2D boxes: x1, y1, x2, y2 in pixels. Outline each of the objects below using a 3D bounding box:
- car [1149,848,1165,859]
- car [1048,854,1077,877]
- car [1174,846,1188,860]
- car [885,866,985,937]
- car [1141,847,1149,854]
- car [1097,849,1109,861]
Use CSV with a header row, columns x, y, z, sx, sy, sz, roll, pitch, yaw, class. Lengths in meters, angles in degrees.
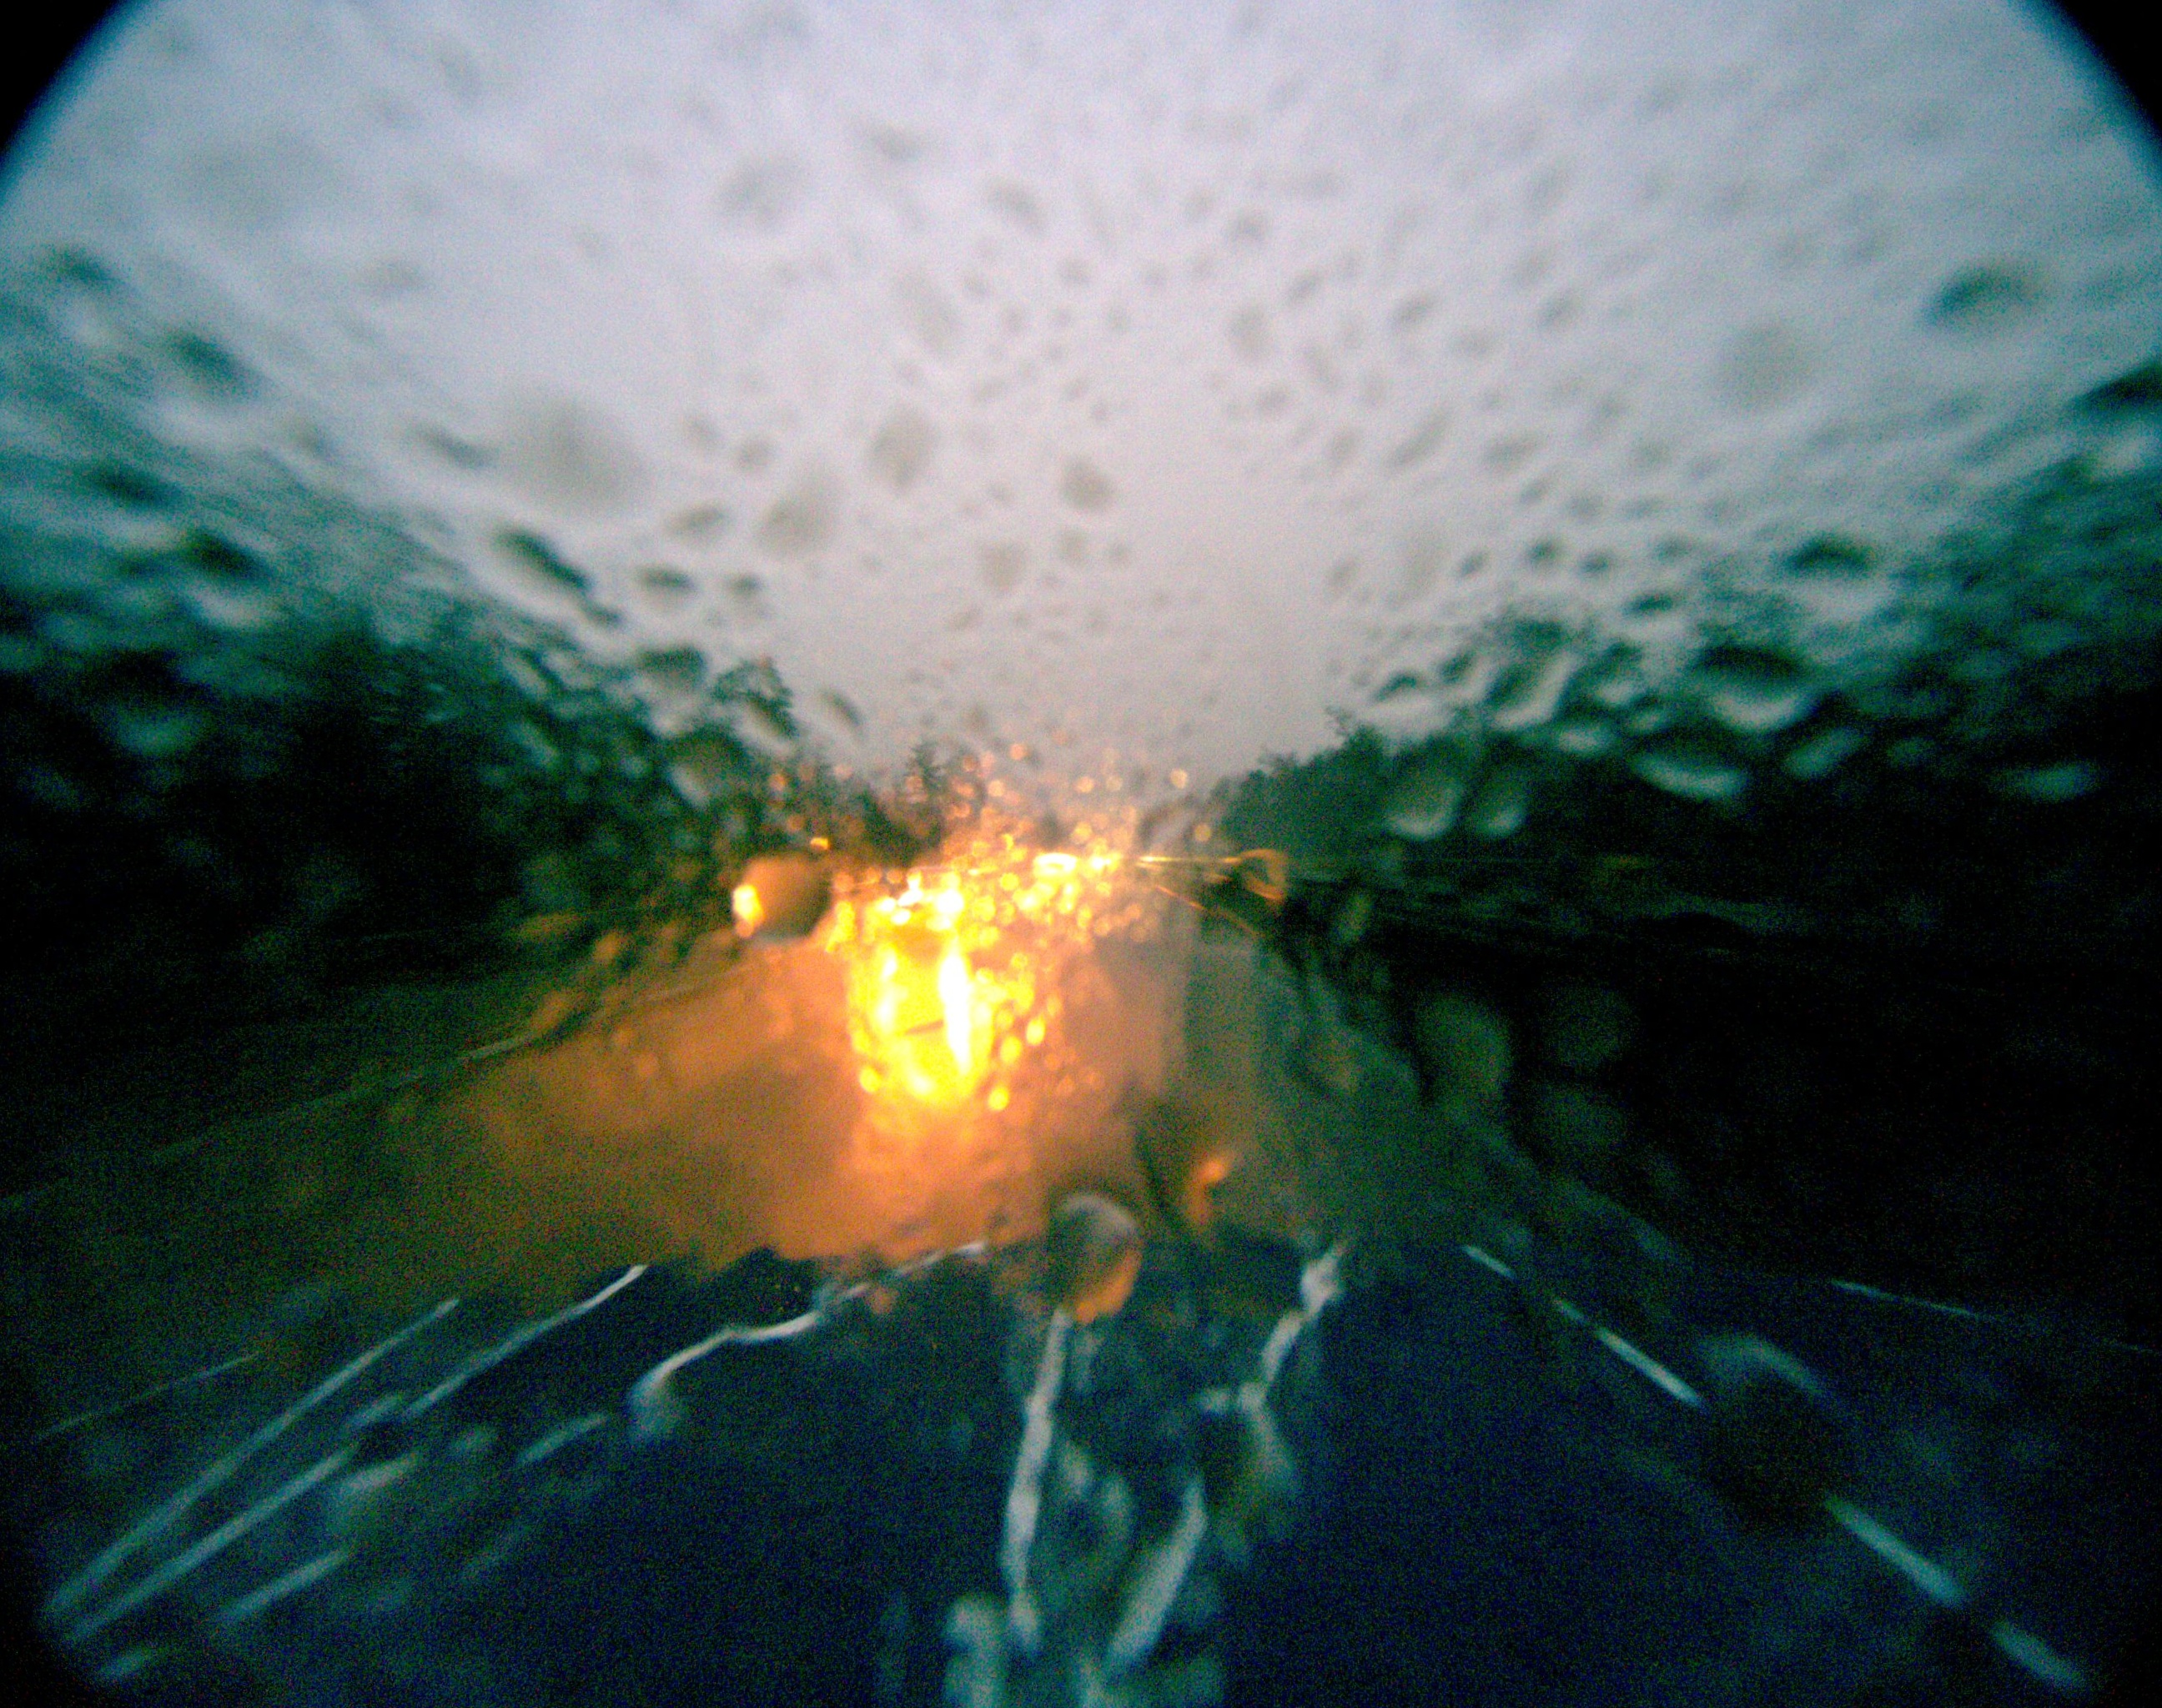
x,y,z,sx,sy,sz,roll,pitch,yaw,class
10.775,-0.077,108.052,1.838,1.540,4.529,-2,0,1,car
-1.269,0.769,53.813,1.741,1.441,4.000,-2,1,2,car
14.610,-0.209,111.141,1.682,1.871,4.000,-3,1,2,car
-3.212,1.000,17.323,1.603,1.358,3.304,-1,1,0,car
14.143,-0.796,167.793,1.683,1.569,4.422,-2,1,2,car
3.451,0.113,118.361,1.690,1.718,3.786,-2,1,0,car
